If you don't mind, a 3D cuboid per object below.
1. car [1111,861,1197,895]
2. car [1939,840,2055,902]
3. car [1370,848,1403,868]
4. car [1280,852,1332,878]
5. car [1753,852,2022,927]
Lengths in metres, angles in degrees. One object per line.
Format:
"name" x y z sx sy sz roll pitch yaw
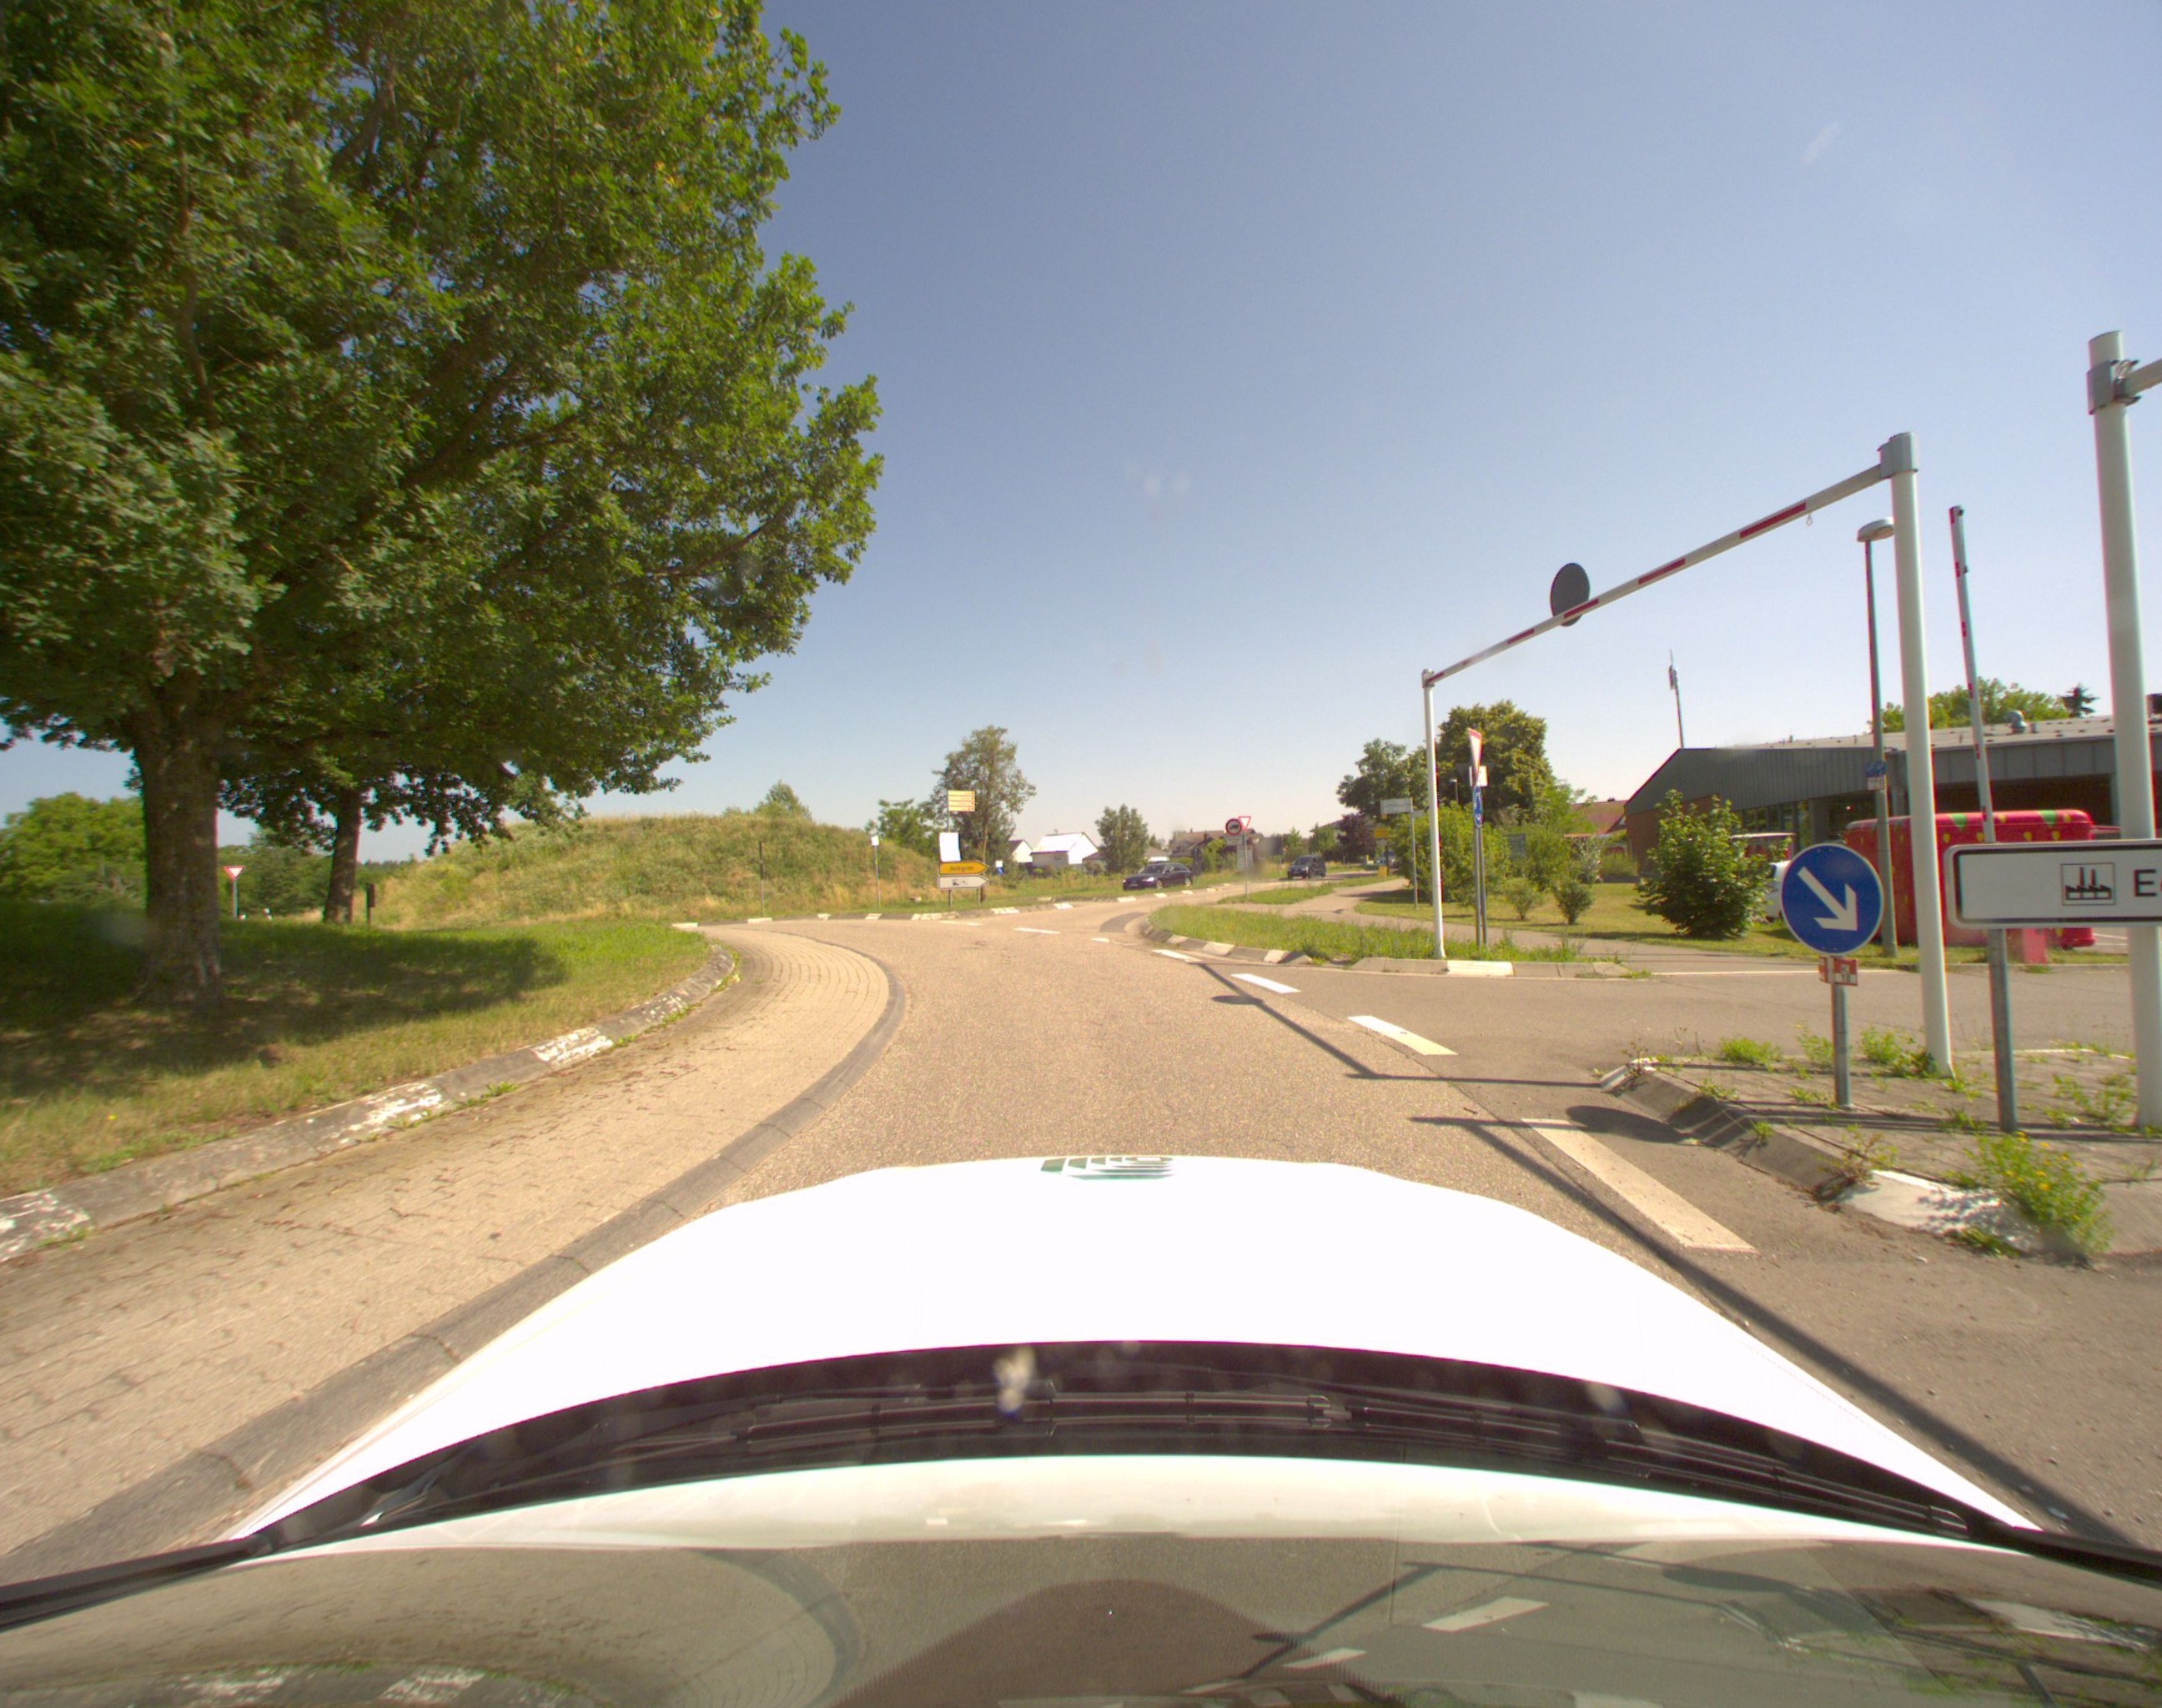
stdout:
"car" 3.709 1.156 40.635 1.898 1.434 4.944 -6 -4 36
"car" 25.461 0.482 22.689 1.806 1.635 1.137 -2 -1 27
"car" 29.567 0.380 78.754 1.974 1.816 5.234 -3 -1 32
"car" 16.140 0.773 58.201 1.792 1.641 4.685 -7 -4 38
"car" 16.889 0.710 17.328 3.723 1.446 1.736 -1 0 29
